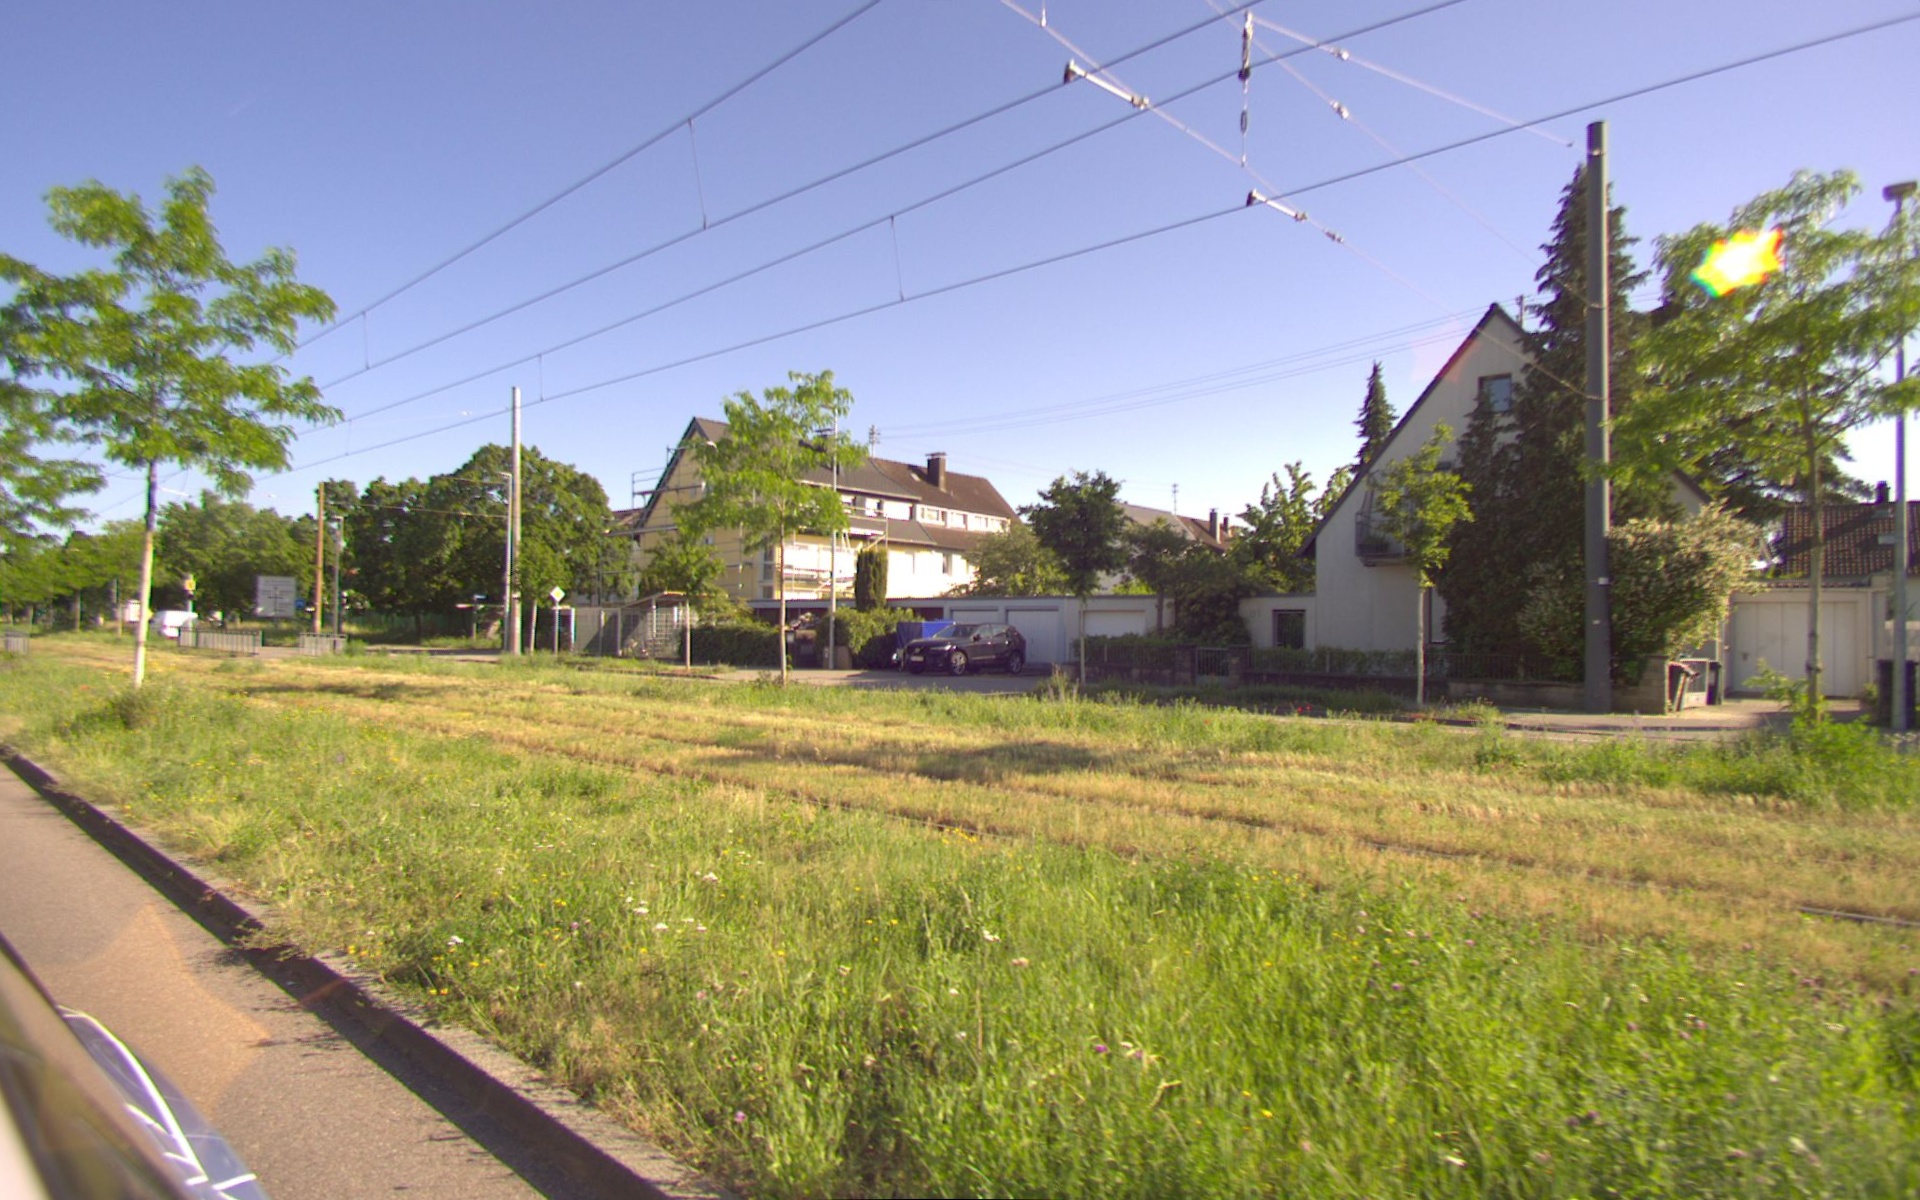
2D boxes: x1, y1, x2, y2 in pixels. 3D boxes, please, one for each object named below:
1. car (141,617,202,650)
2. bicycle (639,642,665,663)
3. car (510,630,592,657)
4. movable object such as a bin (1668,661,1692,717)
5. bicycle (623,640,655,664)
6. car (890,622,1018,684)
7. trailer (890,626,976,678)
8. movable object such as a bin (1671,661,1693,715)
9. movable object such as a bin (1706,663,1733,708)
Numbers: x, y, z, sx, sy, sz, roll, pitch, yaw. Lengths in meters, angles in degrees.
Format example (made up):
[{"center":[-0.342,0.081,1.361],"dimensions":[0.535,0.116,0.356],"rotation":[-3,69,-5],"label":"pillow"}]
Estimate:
[{"center":[-48.423,2.054,62.139],"dimensions":[4.695,1.929,1.879],"rotation":[-1,-2,38],"label":"car"},{"center":[-13.007,2.207,42.754],"dimensions":[1.508,0.827,0.307],"rotation":[0,0,41],"label":"bicycle"},{"center":[-23.665,2.497,58.667],"dimensions":[1.852,1.414,3.947],"rotation":[2,-1,40],"label":"car"},{"center":[13.210,1.631,18.571],"dimensions":[0.350,0.977,0.323],"rotation":[0,0,37],"label":"movable object such as a bin"},{"center":[-13.354,2.159,42.126],"dimensions":[1.748,0.949,0.419],"rotation":[0,0,41],"label":"bicycle"},{"center":[-0.099,1.615,31.519],"dimensions":[2.044,1.748,4.509],"rotation":[-1,-2,29],"label":"car"},{"center":[-0.874,1.734,34.113],"dimensions":[1.397,1.660,2.885],"rotation":[-1,-2,38],"label":"trailer"},{"center":[13.427,1.628,18.821],"dimensions":[0.333,0.973,0.295],"rotation":[0,0,37],"label":"movable object such as a bin"},{"center":[16.103,1.806,21.469],"dimensions":[0.451,0.904,0.367],"rotation":[0,0,37],"label":"movable object such as a bin"}]
